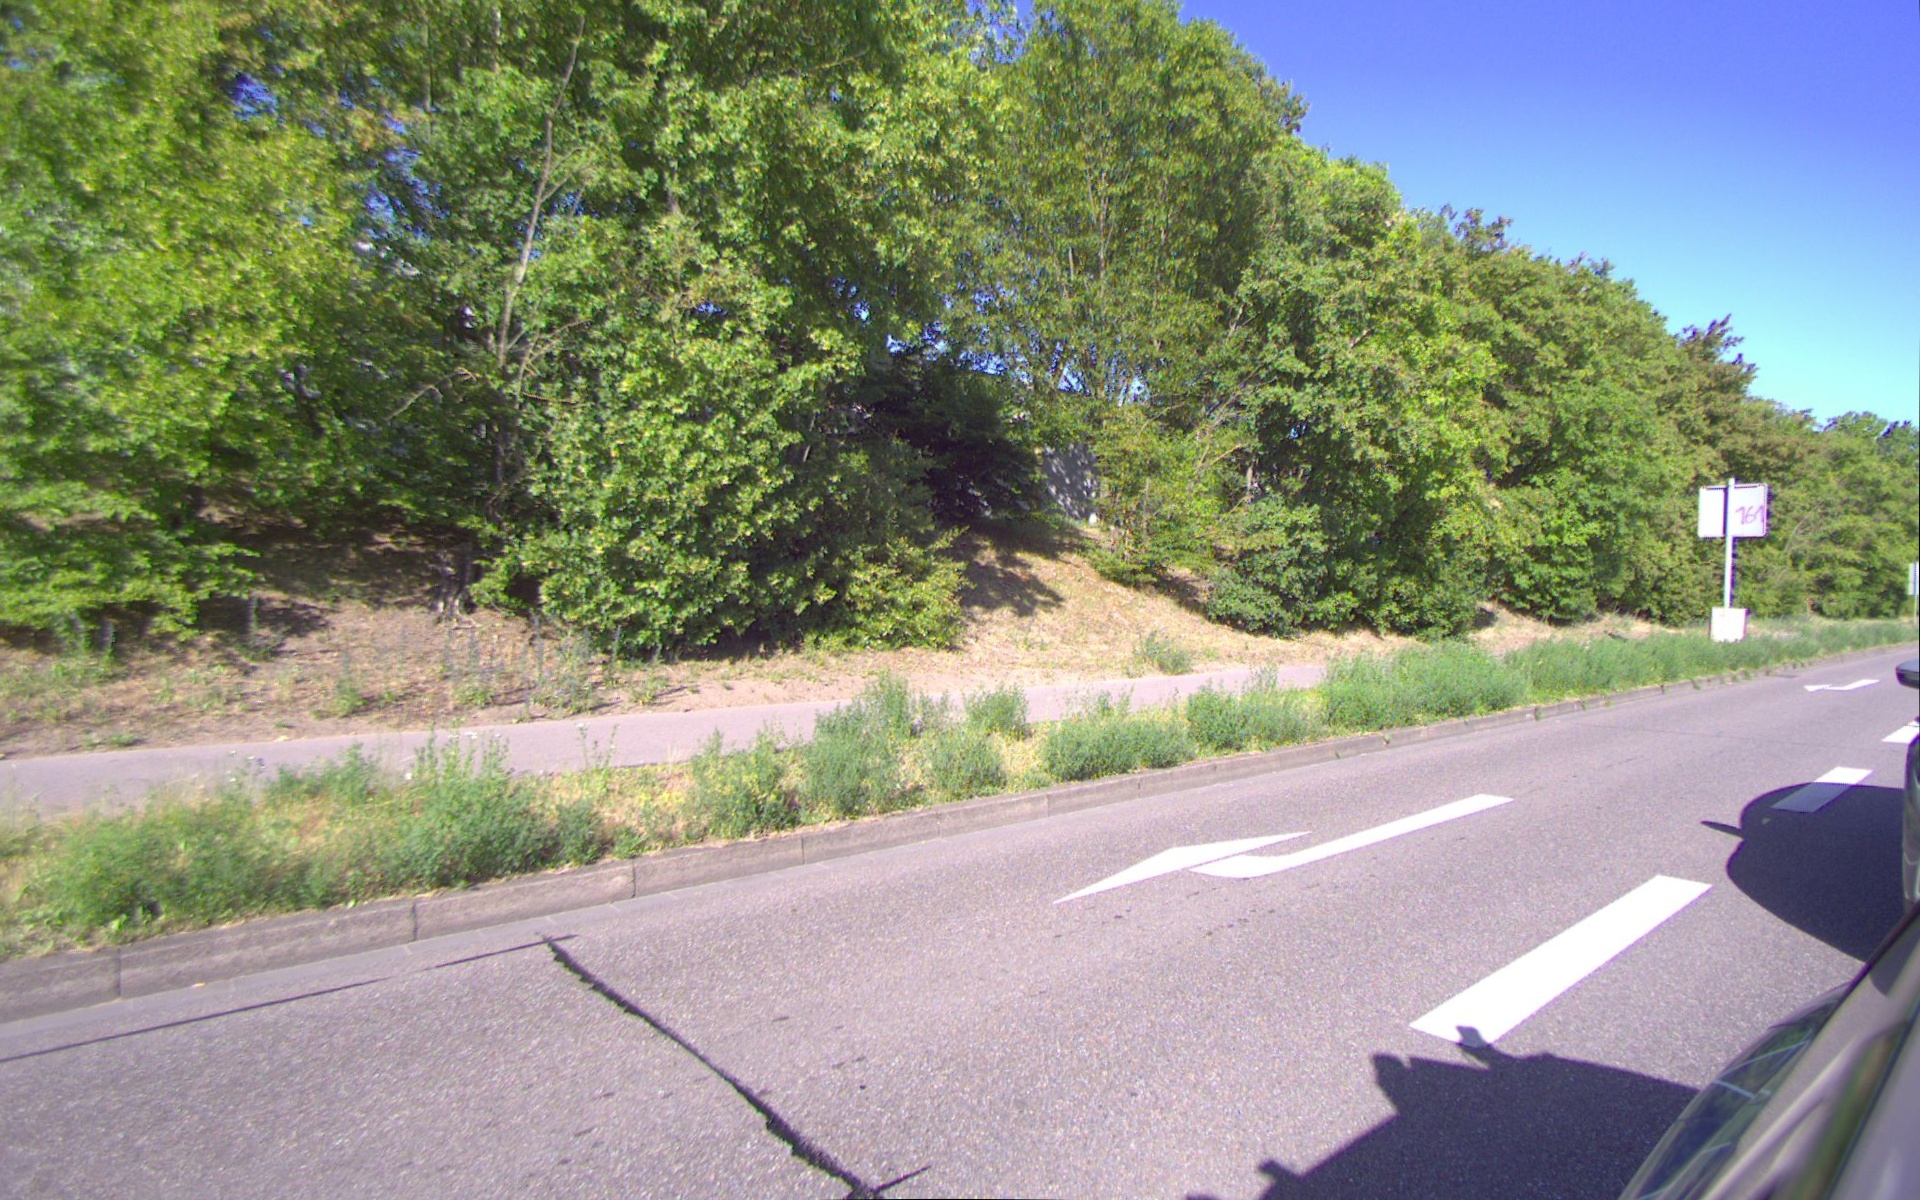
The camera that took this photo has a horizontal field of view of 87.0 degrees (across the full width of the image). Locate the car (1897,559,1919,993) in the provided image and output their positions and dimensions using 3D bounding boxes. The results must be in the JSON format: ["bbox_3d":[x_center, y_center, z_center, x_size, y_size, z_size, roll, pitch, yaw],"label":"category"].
[{"bbox_3d":[5.729,0.653,4.537,4.327,1.603,1.860,0,0,-42],"label":"car"}]
